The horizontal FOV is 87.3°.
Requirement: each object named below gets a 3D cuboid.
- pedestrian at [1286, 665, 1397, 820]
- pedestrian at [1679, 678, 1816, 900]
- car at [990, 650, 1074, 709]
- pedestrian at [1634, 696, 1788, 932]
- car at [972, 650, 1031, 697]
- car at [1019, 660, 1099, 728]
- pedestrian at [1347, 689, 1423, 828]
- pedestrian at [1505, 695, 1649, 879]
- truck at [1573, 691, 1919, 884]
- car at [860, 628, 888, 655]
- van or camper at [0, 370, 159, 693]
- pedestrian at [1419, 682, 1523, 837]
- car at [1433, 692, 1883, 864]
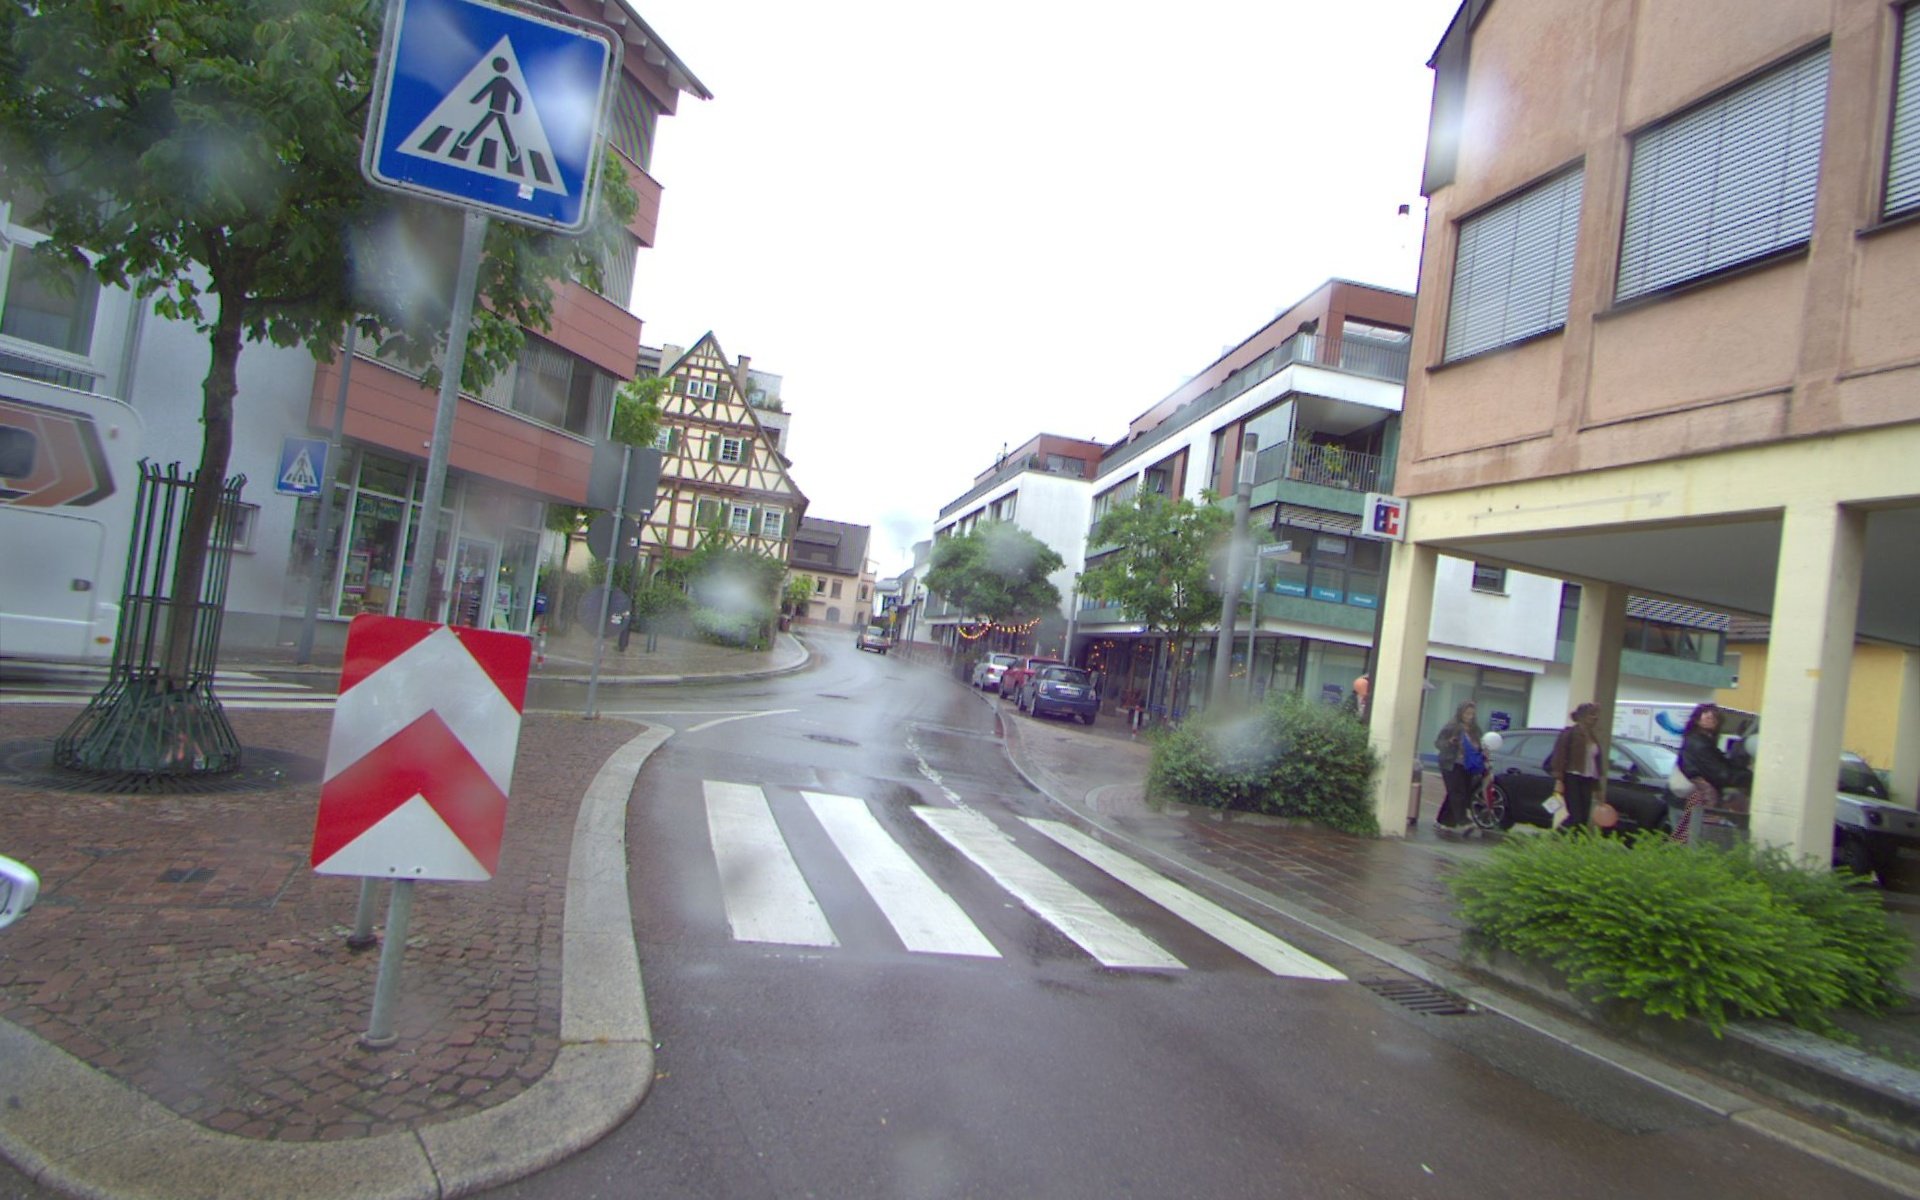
[{"bbox_3d":[4.750,1.751,12.570,0.724,1.768,0.890,8,-2,-15],"label":"pedestrian"},{"bbox_3d":[6.732,1.583,8.599,0.724,1.708,0.721,6,-2,44],"label":"pedestrian"},{"bbox_3d":[2.244,2.514,32.403,1.602,1.518,3.995,5,-2,-11],"label":"car"},{"bbox_3d":[6.064,1.683,8.125,0.810,1.680,0.695,6,-2,42],"label":"pedestrian"},{"bbox_3d":[1.514,2.724,38.019,1.592,1.430,3.999,5,-2,-5],"label":"car"},{"bbox_3d":[2.629,2.509,27.321,1.514,1.378,3.371,7,0,-3],"label":"car"},{"bbox_3d":[5.470,2.027,12.955,0.533,1.682,0.520,8,-2,-13],"label":"pedestrian"},{"bbox_3d":[6.064,1.814,9.922,0.732,1.623,0.824,6,-1,-11],"label":"pedestrian"},{"bbox_3d":[10.634,2.366,13.386,1.741,1.828,3.991,8,-3,-15],"label":"truck"},{"bbox_3d":[-5.446,2.612,63.676,1.500,1.487,3.341,8,-2,-5],"label":"car"},{"bbox_3d":[-10.437,-0.988,7.248,2.411,2.613,6.732,5,-4,39],"label":"van or camper"},{"bbox_3d":[6.158,1.903,12.139,0.626,1.708,0.741,8,-2,-14],"label":"pedestrian"},{"bbox_3d":[8.291,2.059,12.556,1.741,1.290,4.461,8,-3,-15],"label":"car"}]
